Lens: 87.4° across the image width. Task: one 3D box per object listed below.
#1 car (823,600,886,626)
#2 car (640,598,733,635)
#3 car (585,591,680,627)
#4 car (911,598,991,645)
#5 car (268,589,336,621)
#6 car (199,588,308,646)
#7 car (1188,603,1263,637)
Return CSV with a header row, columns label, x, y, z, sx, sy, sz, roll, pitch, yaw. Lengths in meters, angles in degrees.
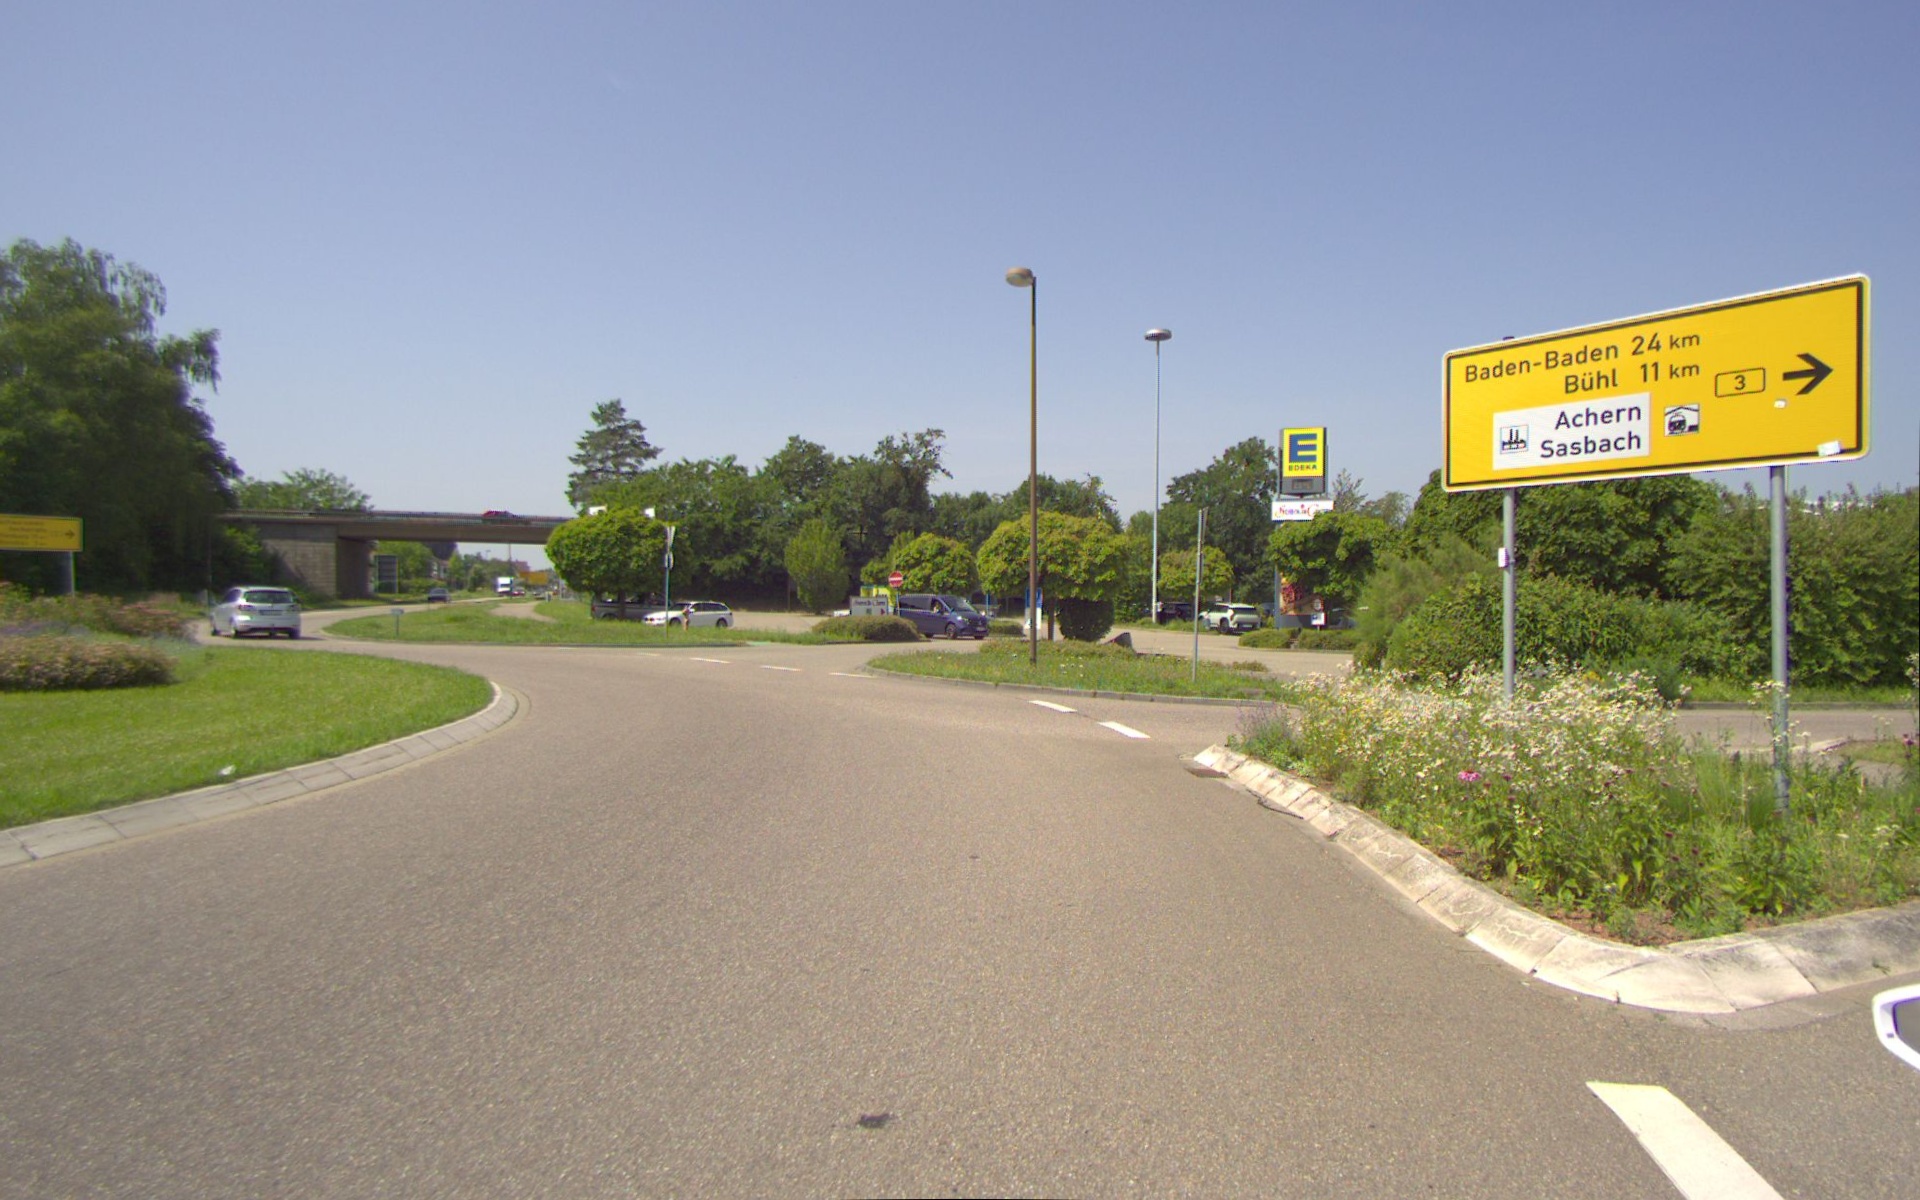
label,x,y,z,sx,sy,sz,roll,pitch,yaw
car,-6.215,0.757,58.999,3.419,1.399,1.597,2,1,-17
car,-12.570,0.727,46.490,1.555,1.517,4.562,3,1,25
car,-16.120,0.455,49.438,4.342,1.582,1.866,2,1,-22
car,-0.443,0.913,43.801,1.974,1.818,3.973,1,1,-26
car,-38.769,0.241,59.307,1.996,1.674,4.622,1,2,-16
car,-22.204,0.487,31.520,3.938,1.573,1.783,3,2,39
car,13.583,0.995,51.592,1.946,1.537,3.986,2,1,-15
